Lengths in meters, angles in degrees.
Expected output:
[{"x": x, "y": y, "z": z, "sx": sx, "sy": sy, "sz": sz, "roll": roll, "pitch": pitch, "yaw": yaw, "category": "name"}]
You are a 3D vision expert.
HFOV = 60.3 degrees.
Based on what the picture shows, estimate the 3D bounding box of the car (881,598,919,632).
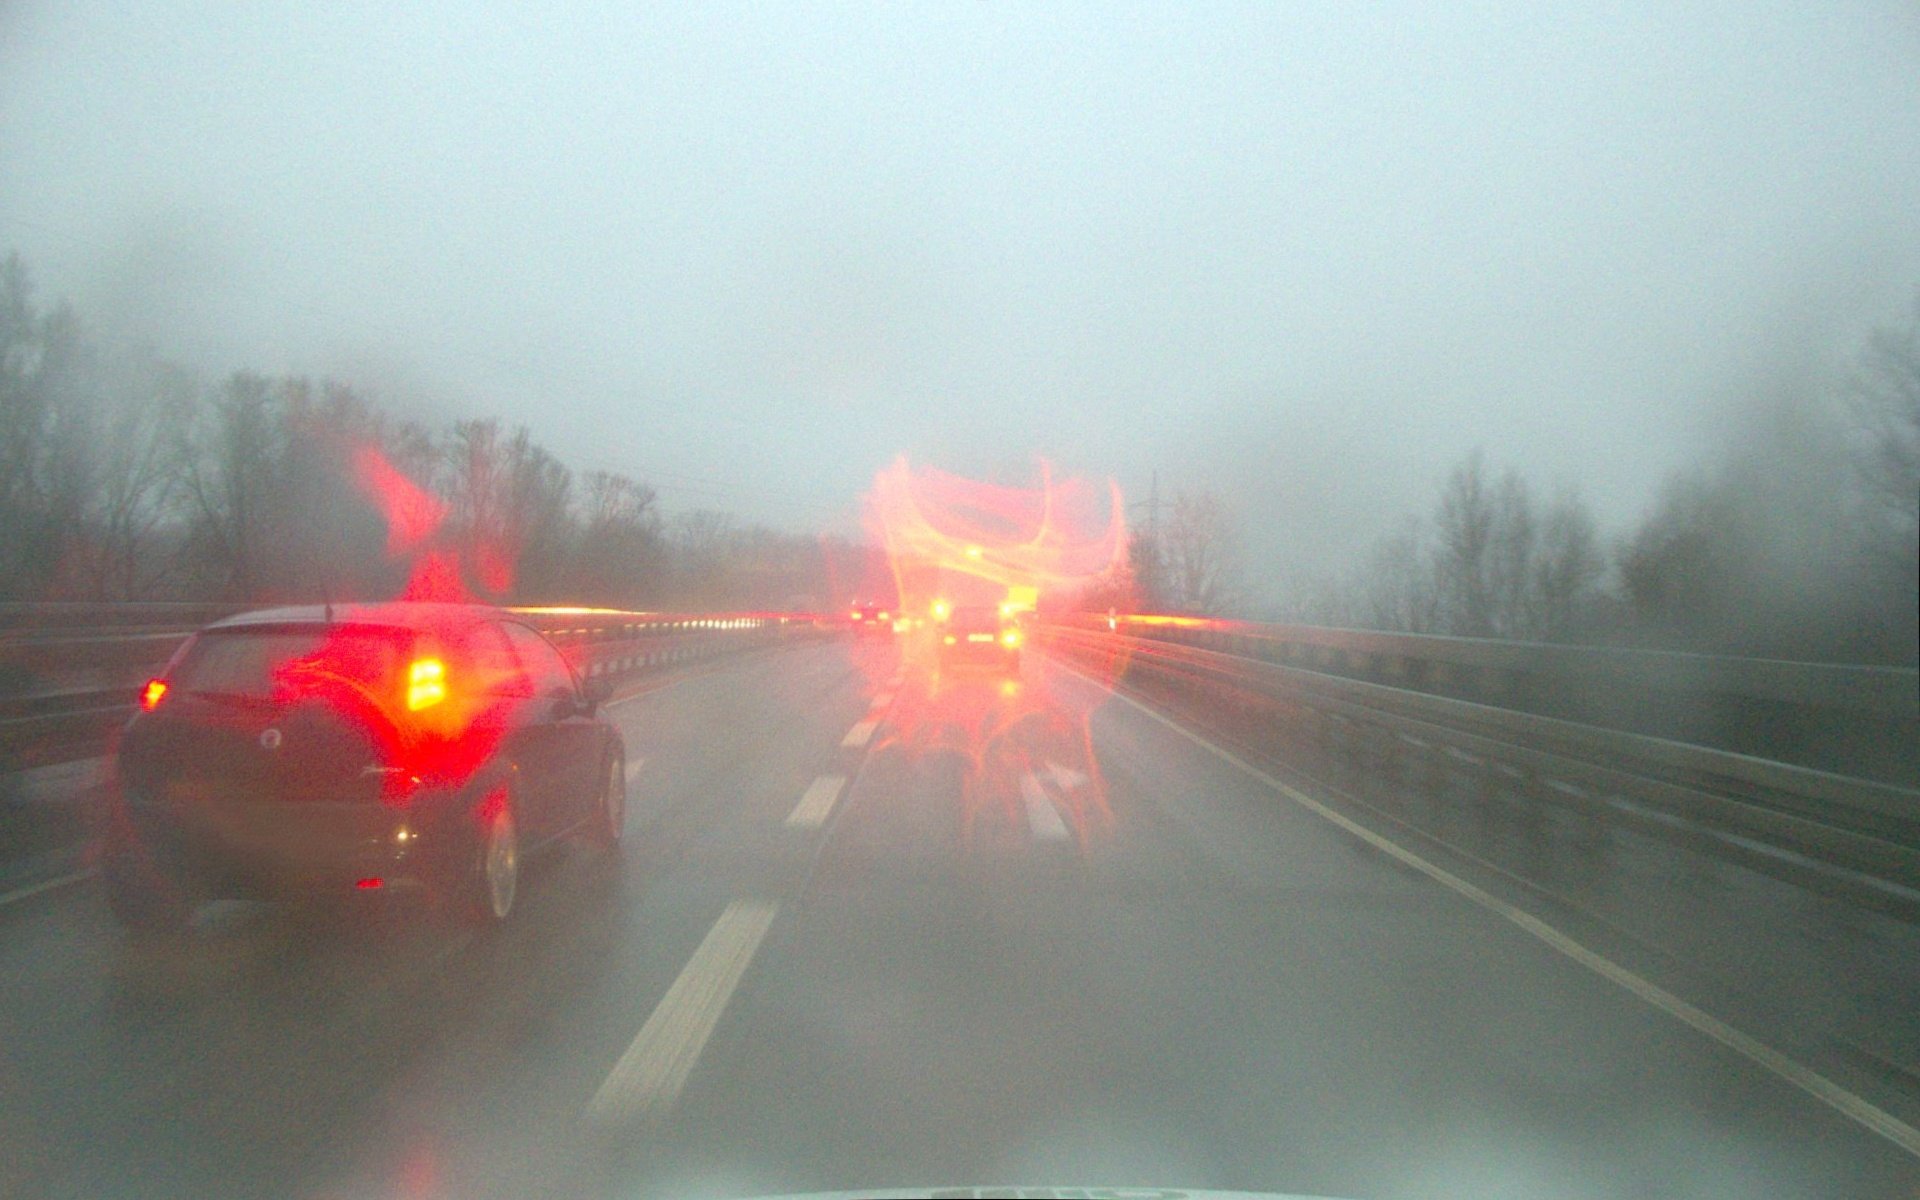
[{"x": -3.263, "y": 0.807, "z": 90.058, "sx": 1.953, "sy": 1.743, "sz": 3.998, "roll": 3, "pitch": 0, "yaw": -2, "category": "car"}]

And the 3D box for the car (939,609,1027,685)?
[{"x": 0.490, "y": 0.958, "z": 35.166, "sx": 1.701, "sy": 1.439, "sz": 4.378, "roll": 2, "pitch": -1, "yaw": 1, "category": "car"}]

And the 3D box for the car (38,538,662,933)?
[{"x": -2.776, "y": 0.544, "z": 8.561, "sx": 1.694, "sy": 1.559, "sz": 4.042, "roll": 0, "pitch": 0, "yaw": 0, "category": "car"}]

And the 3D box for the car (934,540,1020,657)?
[{"x": 0.417, "y": 0.036, "z": 46.371, "sx": 2.235, "sy": 3.018, "sz": 6.389, "roll": 0, "pitch": -1, "yaw": 0, "category": "car"}]

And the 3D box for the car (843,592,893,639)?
[{"x": -3.934, "y": 0.658, "z": 71.089, "sx": 1.953, "sy": 1.846, "sz": 3.998, "roll": 3, "pitch": 0, "yaw": -2, "category": "car"}]
